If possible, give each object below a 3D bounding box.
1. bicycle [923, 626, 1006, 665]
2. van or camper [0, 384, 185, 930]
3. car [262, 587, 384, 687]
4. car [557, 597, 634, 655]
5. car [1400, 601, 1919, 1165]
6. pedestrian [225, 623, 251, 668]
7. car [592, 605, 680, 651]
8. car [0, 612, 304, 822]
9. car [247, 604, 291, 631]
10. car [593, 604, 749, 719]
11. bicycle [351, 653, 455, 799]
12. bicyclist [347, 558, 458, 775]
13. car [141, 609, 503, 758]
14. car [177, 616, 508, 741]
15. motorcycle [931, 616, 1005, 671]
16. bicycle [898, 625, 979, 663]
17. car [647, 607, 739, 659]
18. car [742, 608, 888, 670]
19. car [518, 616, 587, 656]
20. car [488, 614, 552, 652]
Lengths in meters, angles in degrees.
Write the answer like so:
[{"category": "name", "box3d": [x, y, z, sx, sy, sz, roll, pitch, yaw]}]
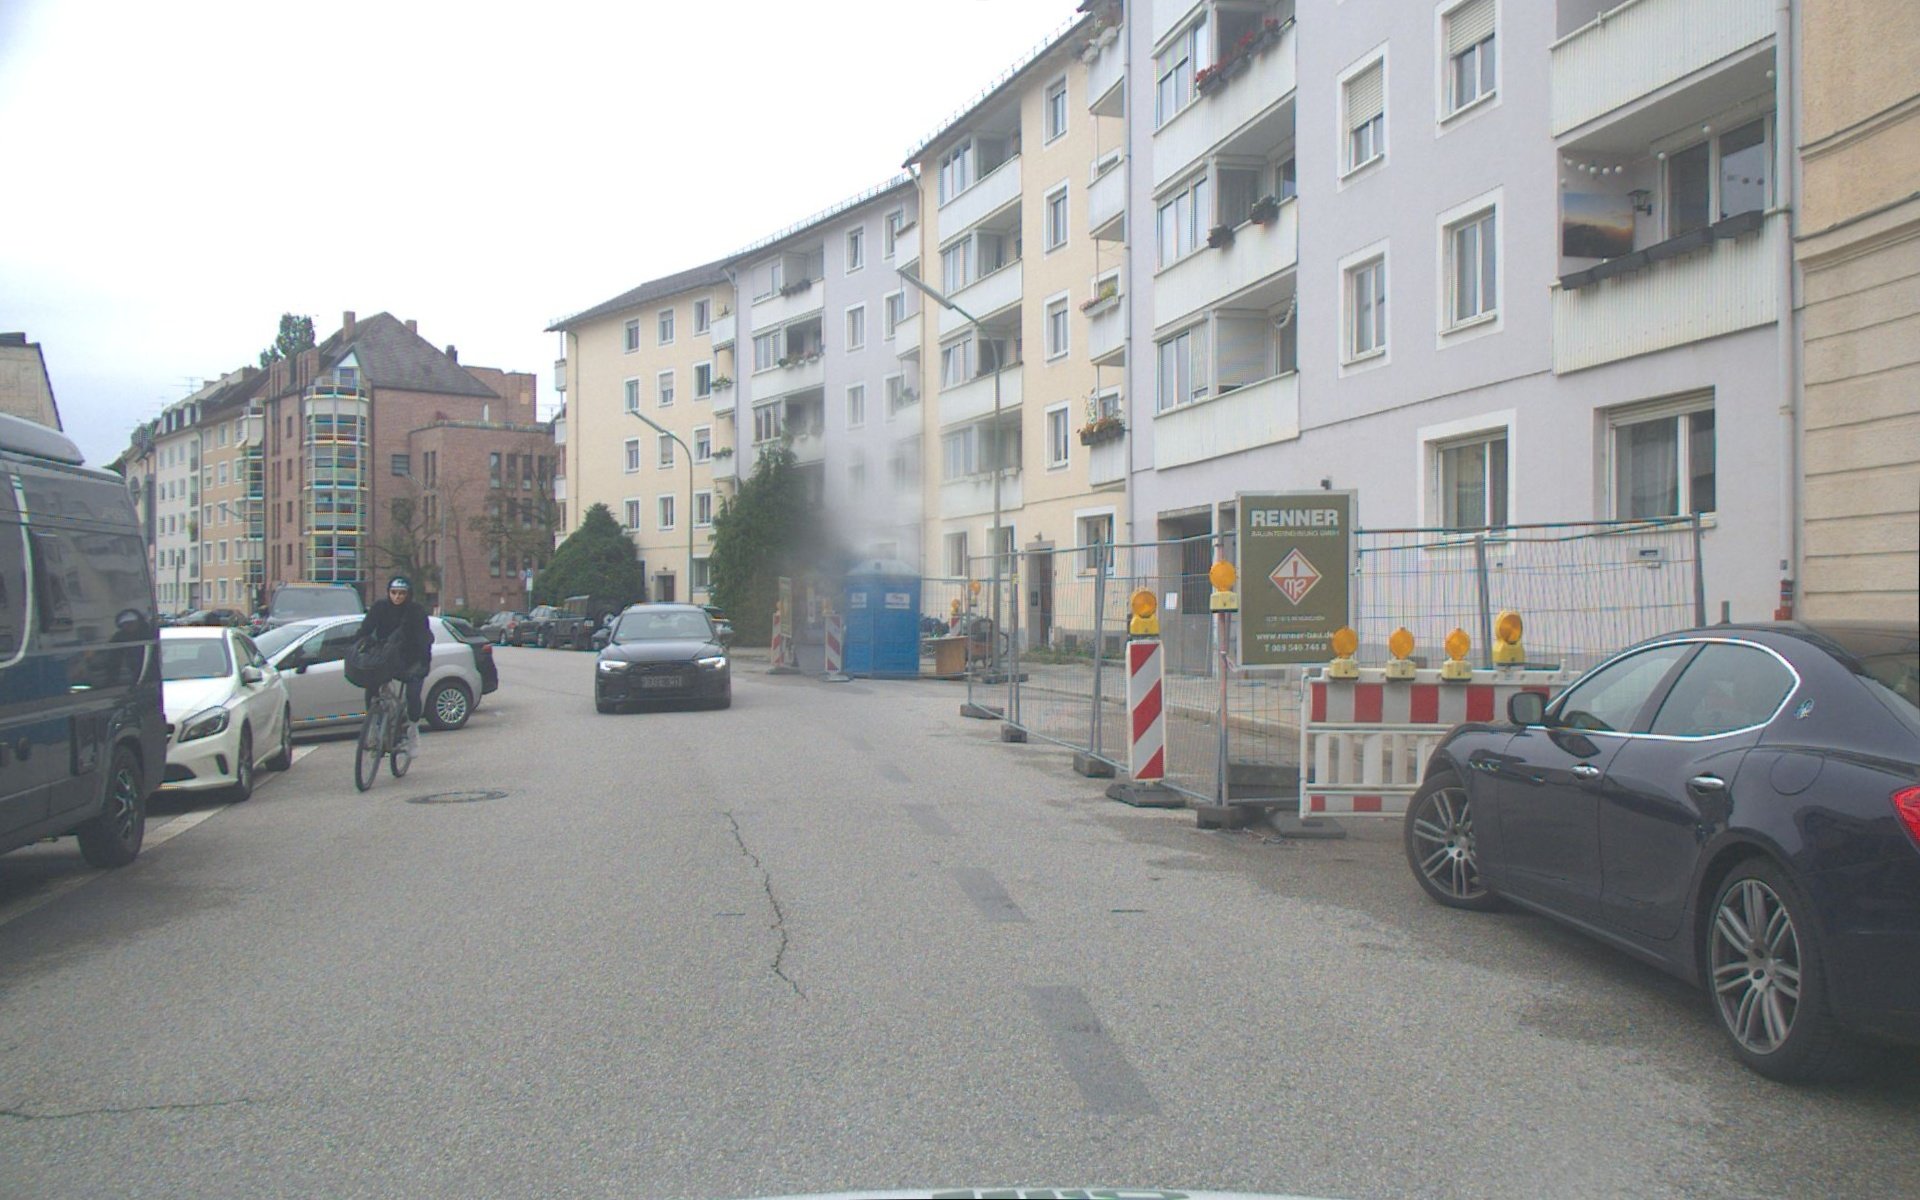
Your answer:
[{"category": "bicycle", "box3d": [0.125, 1.280, 47.191, 2.201, 1.088, 0.913, 0, -1, -22]}, {"category": "van or camper", "box3d": [-5.756, 0.300, 7.857, 2.256, 2.626, 6.068, -2, 0, -11]}, {"category": "car", "box3d": [-12.315, 0.706, 31.926, 2.023, 1.766, 4.853, 0, -1, -22]}, {"category": "car", "box3d": [-13.539, 0.959, 61.271, 1.762, 2.011, 3.683, -2, 0, -29]}, {"category": "car", "box3d": [3.474, 0.778, 6.836, 1.870, 1.503, 4.945, 1, 0, -2]}, {"category": "pedestrian", "box3d": [-26.608, 1.667, 60.973, 0.749, 1.658, 0.916, 0, -1, -17]}, {"category": "car", "box3d": [-11.279, 0.972, 57.492, 1.765, 1.545, 3.677, 1, -1, -33]}, {"category": "car", "box3d": [-7.012, 0.898, 14.444, 1.962, 1.476, 4.195, -2, 0, -17]}, {"category": "car", "box3d": [-41.310, 1.036, 98.891, 1.620, 1.509, 3.564, 1, 0, -36]}, {"category": "car", "box3d": [-4.145, 0.844, 24.380, 1.883, 1.436, 4.697, -3, 0, -6]}, {"category": "bicycle", "box3d": [-4.814, 1.053, 14.381, 0.575, 1.088, 1.931, -2, 0, -11]}, {"category": "bicyclist", "box3d": [-4.862, 0.557, 14.470, 0.731, 1.802, 0.813, -3, 0, -11]}, {"category": "car", "box3d": [-7.752, 0.961, 20.328, 1.684, 1.534, 3.786, -3, 0, 42]}, {"category": "car", "box3d": [-8.586, 1.046, 23.246, 1.781, 1.446, 3.976, -3, 0, 41]}, {"category": "motorcycle", "box3d": [0.160, 1.009, 39.162, 0.918, 1.242, 2.491, 0, -1, -21]}, {"category": "bicycle", "box3d": [-0.628, 1.277, 48.524, 2.201, 1.088, 0.913, 0, -1, -22]}, {"category": "car", "box3d": [-8.617, 1.021, 53.168, 1.809, 1.601, 3.965, 0, -1, -27]}, {"category": "car", "box3d": [-3.655, 0.941, 41.156, 1.766, 1.464, 4.229, 0, -1, -35]}, {"category": "car", "box3d": [-16.272, 1.433, 65.947, 1.762, 1.537, 3.683, 1, -1, -29]}, {"category": "car", "box3d": [-18.582, 1.368, 69.735, 1.762, 1.537, 3.683, 0, -1, -29]}]
